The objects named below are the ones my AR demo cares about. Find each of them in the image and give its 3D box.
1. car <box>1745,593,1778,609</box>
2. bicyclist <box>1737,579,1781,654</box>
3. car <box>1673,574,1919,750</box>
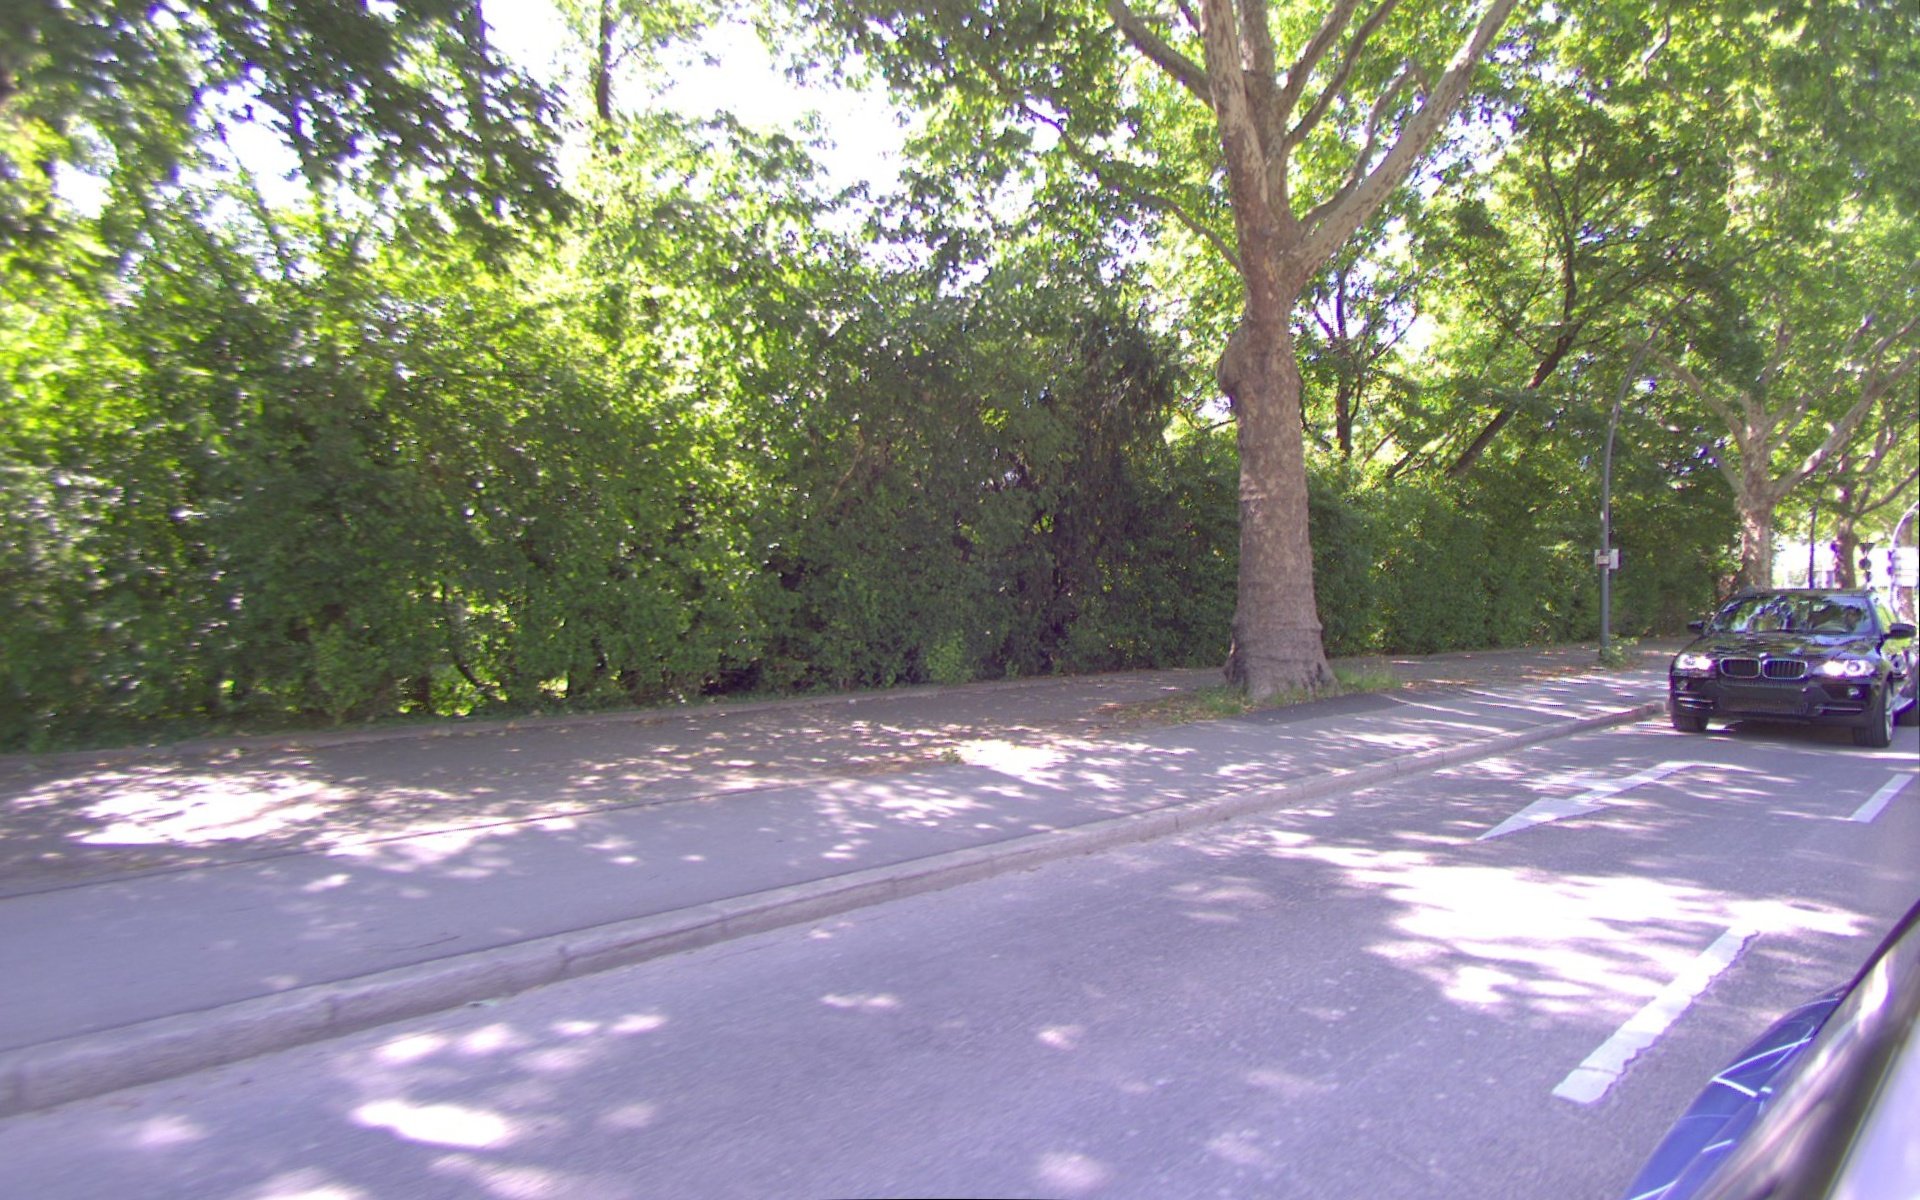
[{"bbox_3d":[141.879,0.127,179.211,1.779,2.773,4.366,1,0,-44],"label":"car"},{"bbox_3d":[17.938,0.359,22.707,0.720,1.620,0.620,1,2,-43],"label":"bicyclist"},{"bbox_3d":[10.304,0.617,12.192,4.080,1.752,1.922,0,0,-42],"label":"car"}]
